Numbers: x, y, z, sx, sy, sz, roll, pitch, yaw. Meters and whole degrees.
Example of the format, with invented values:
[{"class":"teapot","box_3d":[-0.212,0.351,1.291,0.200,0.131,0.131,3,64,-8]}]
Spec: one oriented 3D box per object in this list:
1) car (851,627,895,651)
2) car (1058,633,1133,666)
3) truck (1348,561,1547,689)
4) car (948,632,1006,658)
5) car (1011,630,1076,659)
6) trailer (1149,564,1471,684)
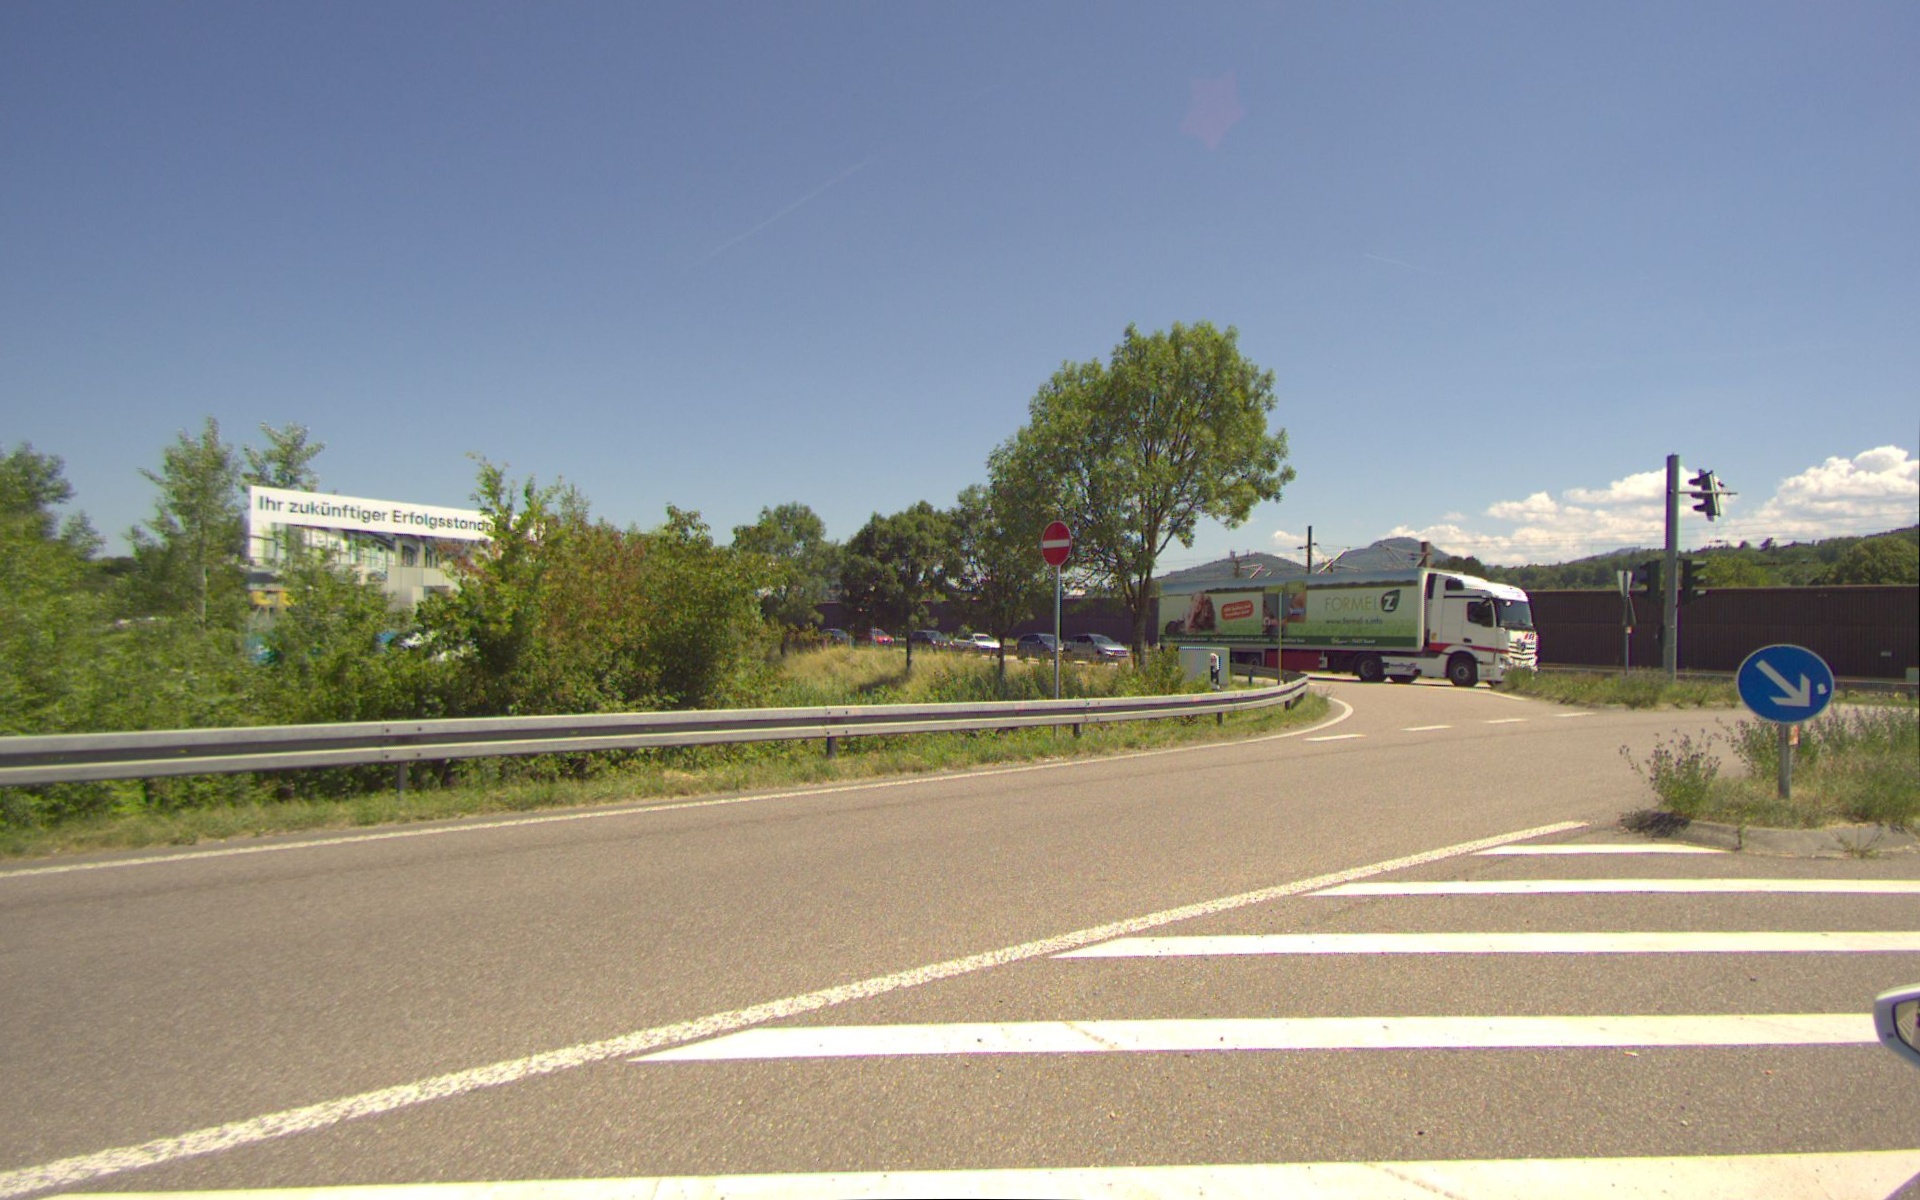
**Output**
[{"class":"car","box_3d":[-6.674,2.959,76.825,1.740,1.653,4.245,3,-2,-29]},{"class":"car","box_3d":[7.065,2.551,52.596,1.698,1.582,4.120,3,-2,-31]},{"class":"truck","box_3d":[17.098,0.901,35.578,2.668,4.097,5.776,4,-3,-31]},{"class":"car","box_3d":[1.019,2.850,64.534,1.639,1.498,4.595,3,-2,-29]},{"class":"car","box_3d":[4.785,2.572,58.199,1.609,1.558,4.352,2,-2,-28]},{"class":"trailer","box_3d":[13.586,1.015,41.376,2.668,4.097,14.005,4,-3,-31]}]
